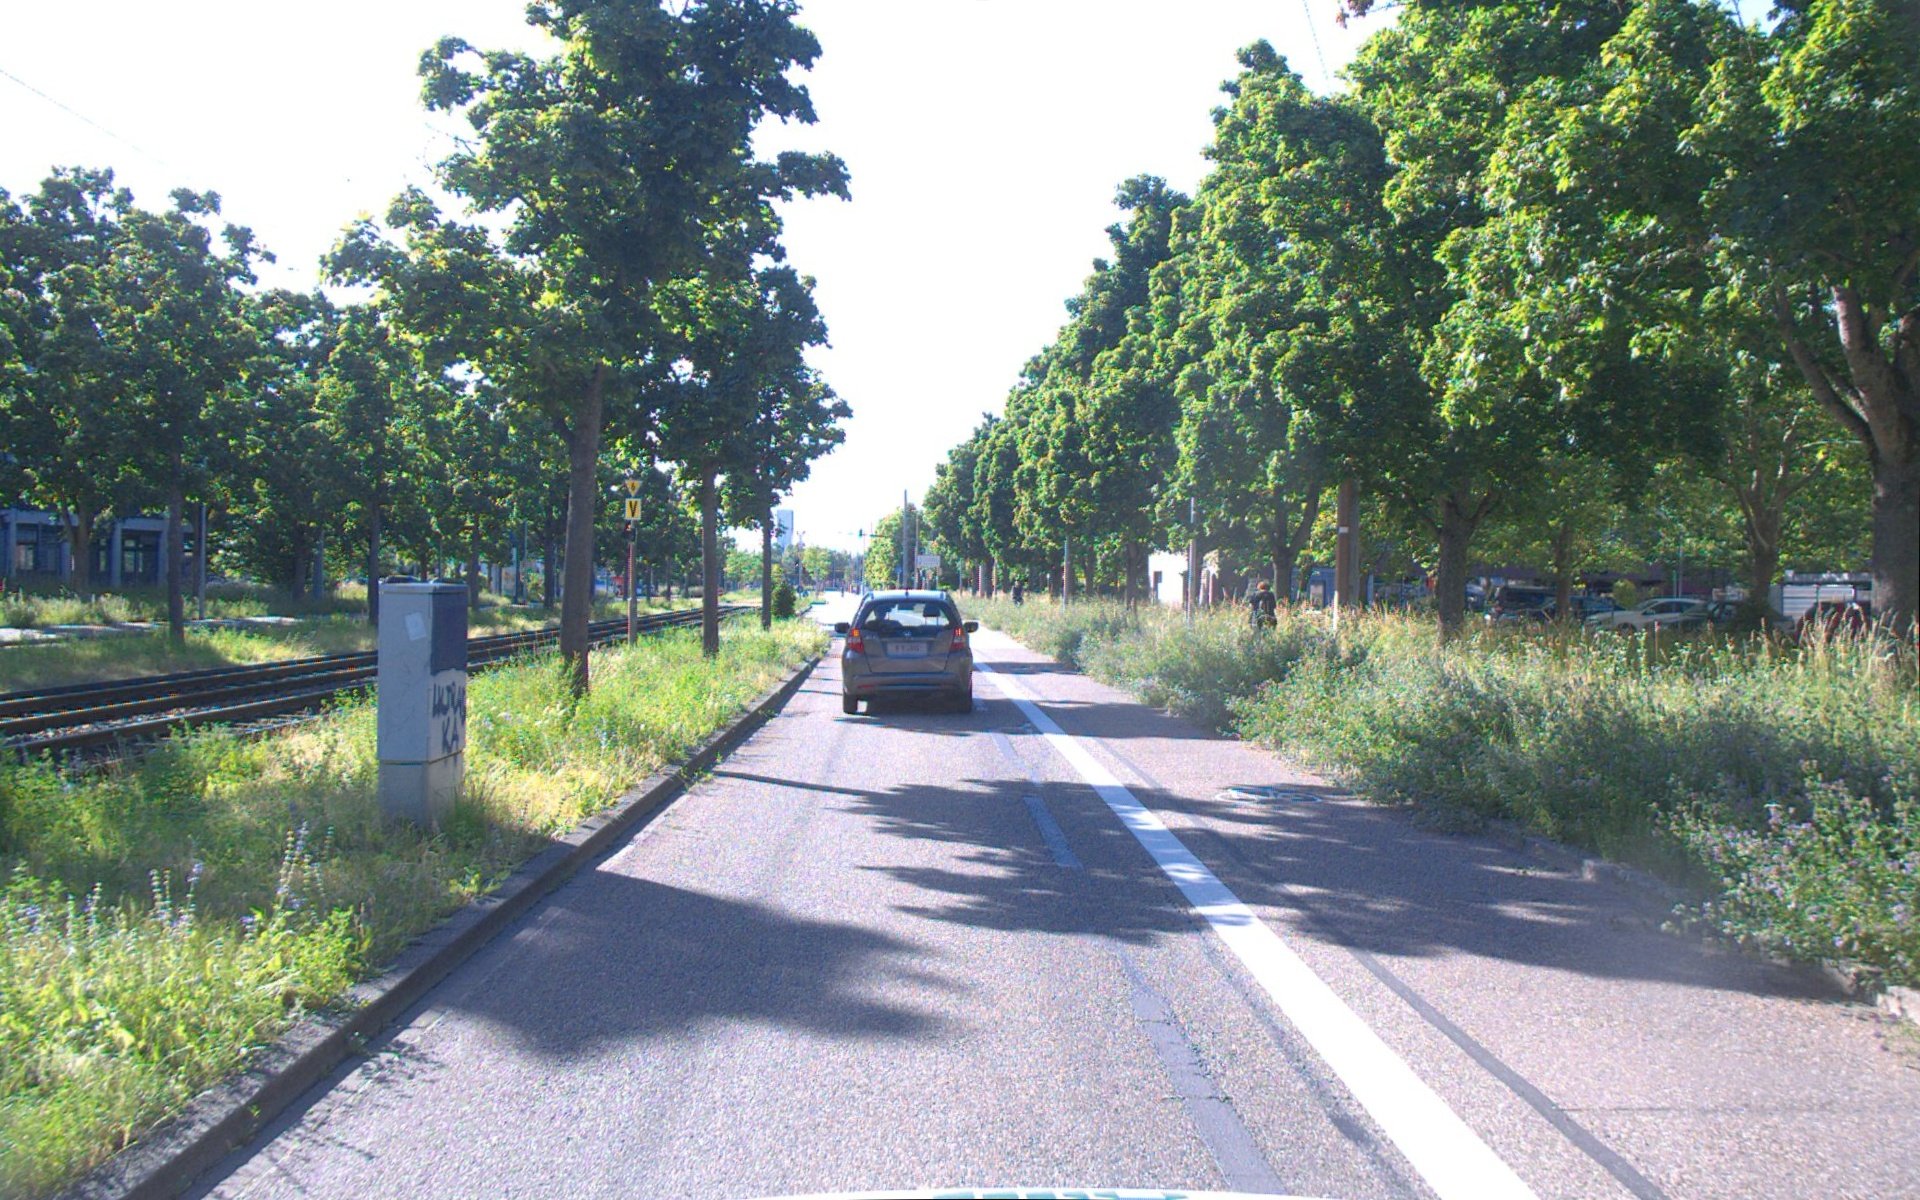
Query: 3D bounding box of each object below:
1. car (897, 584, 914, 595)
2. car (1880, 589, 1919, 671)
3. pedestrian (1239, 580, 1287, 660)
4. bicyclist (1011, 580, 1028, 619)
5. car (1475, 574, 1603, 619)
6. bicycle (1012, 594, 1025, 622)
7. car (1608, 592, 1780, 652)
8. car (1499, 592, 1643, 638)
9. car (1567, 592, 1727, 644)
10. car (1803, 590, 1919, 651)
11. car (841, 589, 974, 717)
[{"bbox_3d":[-6.935,-1.353,209.622,1.741,1.411,3.862,0,0,-9],"label":"car"},{"bbox_3d":[21.198,0.627,33.355,4.306,1.624,1.882,1,0,-6],"label":"car"},{"bbox_3d":[6.193,0.409,33.832,0.807,1.596,0.762,1,0,-1],"label":"pedestrian"},{"bbox_3d":[2.713,-0.016,75.597,0.669,1.750,0.902,1,-1,-3],"label":"bicyclist"},{"bbox_3d":[20.496,-0.119,58.649,3.948,1.531,1.738,1,0,-2],"label":"car"},{"bbox_3d":[2.673,0.388,75.684,0.473,1.225,2.142,1,-2,-2],"label":"bicycle"},{"bbox_3d":[19.864,0.578,44.832,3.917,1.552,1.704,1,0,-6],"label":"car"},{"bbox_3d":[20.764,0.484,56.312,4.266,1.484,1.689,1,0,1],"label":"car"},{"bbox_3d":[20.768,0.529,50.099,4.079,1.457,1.825,1,0,1],"label":"car"},{"bbox_3d":[22.211,0.459,38.495,4.203,1.347,1.941,0,1,2],"label":"car"},{"bbox_3d":[-0.679,0.634,21.704,1.591,1.526,3.455,1,0,-2],"label":"car"}]
